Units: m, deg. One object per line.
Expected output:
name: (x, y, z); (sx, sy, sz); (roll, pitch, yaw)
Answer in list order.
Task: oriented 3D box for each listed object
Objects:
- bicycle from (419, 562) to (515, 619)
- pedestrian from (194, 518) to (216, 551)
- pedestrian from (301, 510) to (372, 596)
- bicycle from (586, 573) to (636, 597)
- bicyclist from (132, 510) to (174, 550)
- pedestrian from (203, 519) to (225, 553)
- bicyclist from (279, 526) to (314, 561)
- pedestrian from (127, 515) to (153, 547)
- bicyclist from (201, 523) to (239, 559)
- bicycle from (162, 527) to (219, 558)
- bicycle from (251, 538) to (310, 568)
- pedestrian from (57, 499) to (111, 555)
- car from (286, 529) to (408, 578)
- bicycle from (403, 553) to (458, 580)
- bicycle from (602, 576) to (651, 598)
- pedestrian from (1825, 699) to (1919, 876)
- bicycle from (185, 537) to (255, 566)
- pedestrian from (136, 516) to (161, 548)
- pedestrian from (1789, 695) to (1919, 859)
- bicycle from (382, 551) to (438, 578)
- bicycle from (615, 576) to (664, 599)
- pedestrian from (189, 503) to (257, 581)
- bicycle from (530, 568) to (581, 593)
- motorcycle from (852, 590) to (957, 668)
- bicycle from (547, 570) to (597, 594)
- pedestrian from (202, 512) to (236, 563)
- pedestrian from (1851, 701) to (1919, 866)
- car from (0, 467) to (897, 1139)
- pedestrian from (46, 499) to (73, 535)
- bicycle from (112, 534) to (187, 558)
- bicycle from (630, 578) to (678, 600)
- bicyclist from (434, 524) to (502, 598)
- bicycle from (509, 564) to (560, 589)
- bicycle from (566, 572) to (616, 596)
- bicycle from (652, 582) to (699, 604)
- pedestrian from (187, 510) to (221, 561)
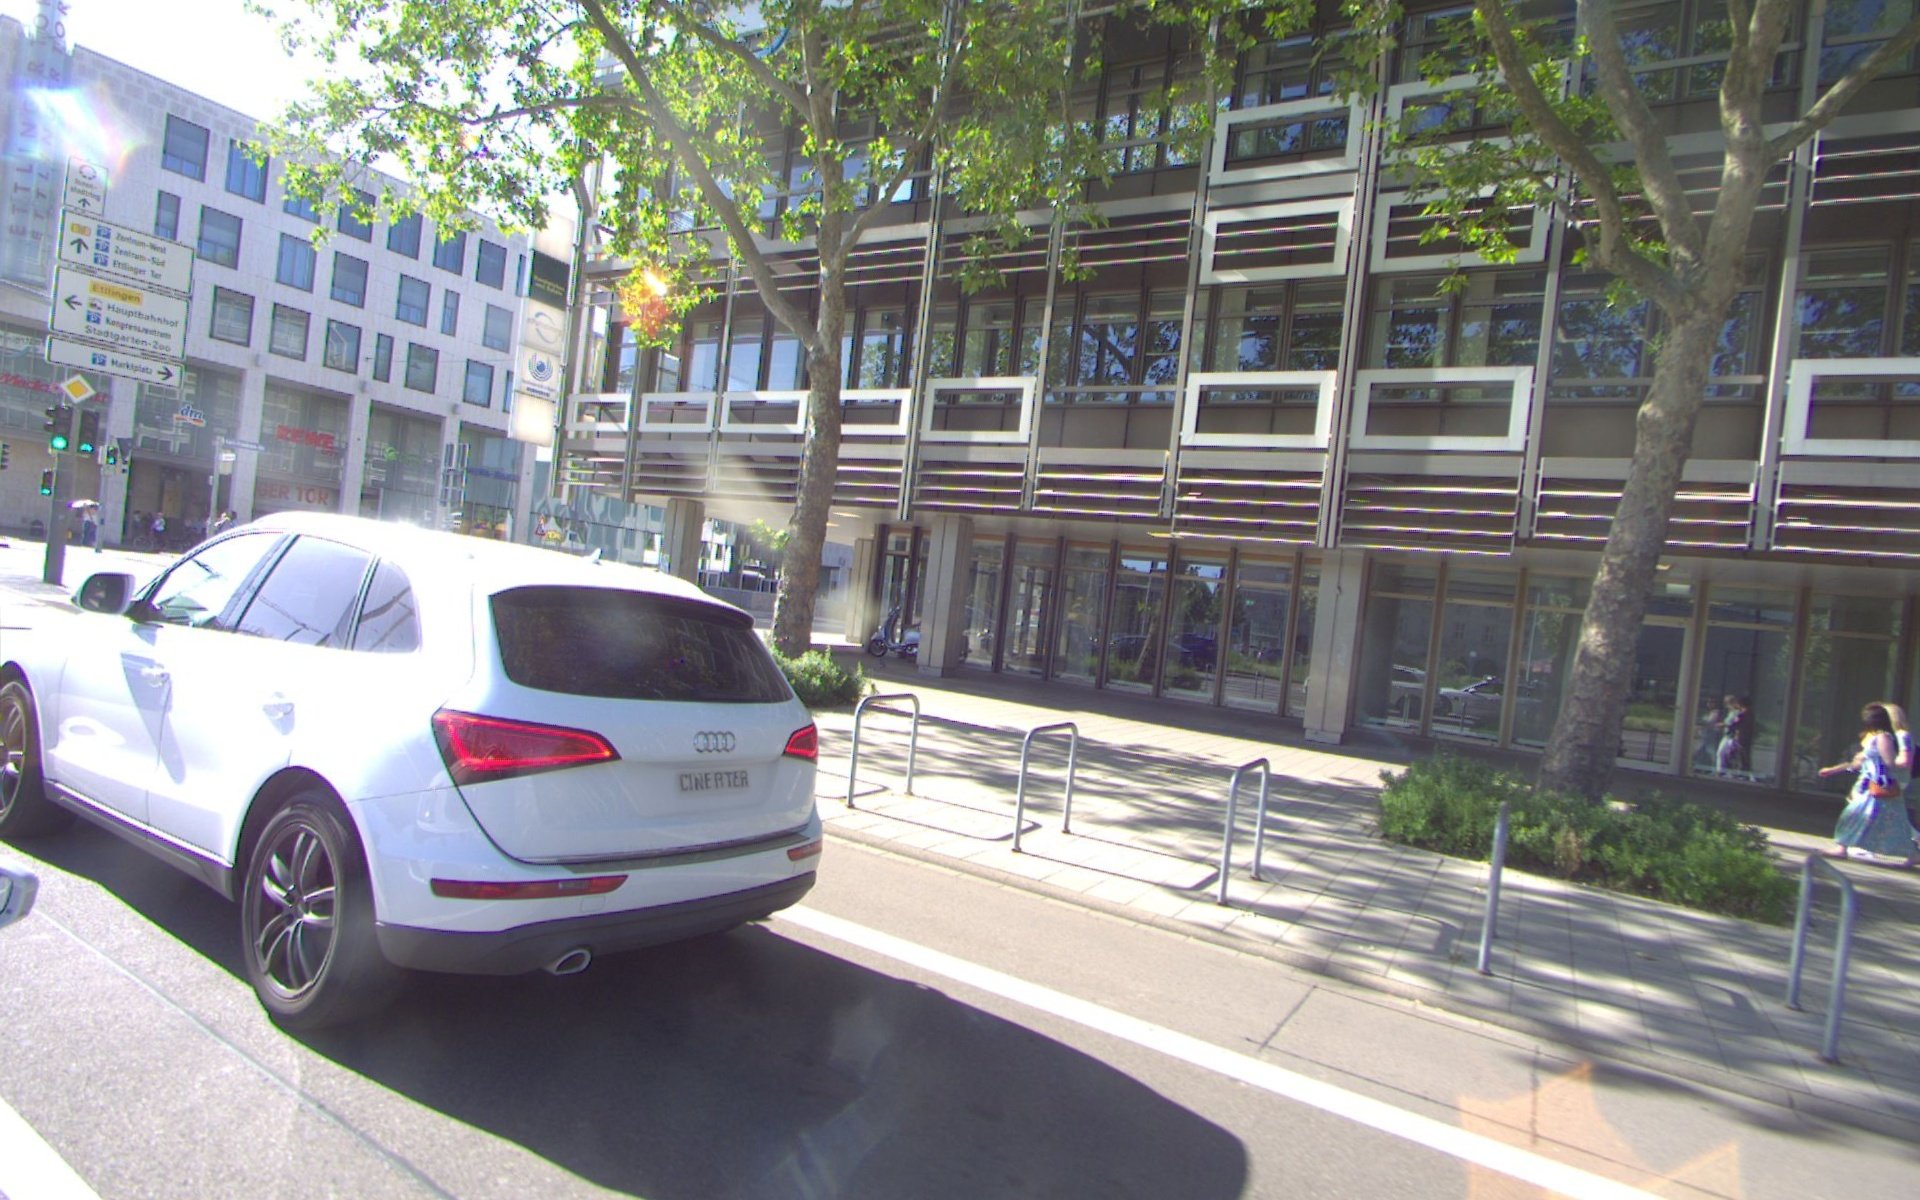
bicycle: (-10.900, -0.219, 22.214); (2.017, 0.997, 0.882); (7, 0, 31)
pedestrian: (-42.574, -3.698, 56.757); (0.639, 1.784, 0.556); (7, 1, -5)
pedestrian: (-16.052, -1.195, 25.903); (1.060, 2.038, 0.949); (7, 0, 24)
bicycle: (-22.490, -0.970, 64.742); (3.441, 1.107, 1.067); (6, -1, 34)
bicyclist: (-33.818, -2.912, 42.156); (1.055, 1.494, 1.022); (7, 0, 35)
pedestrian: (-42.677, -3.658, 57.552); (0.639, 1.784, 0.556); (7, 1, -5)
bicyclist: (-30.822, -2.630, 46.704); (1.024, 1.451, 0.933); (7, 0, 34)
pedestrian: (-44.019, -3.697, 53.999); (0.737, 1.628, 0.556); (7, 1, -5)
bicyclist: (-32.480, -2.575, 44.171); (1.059, 1.413, 0.933); (7, 0, 34)
bicycle: (-35.205, -2.652, 45.986); (2.942, 1.107, 1.067); (6, -1, 33)
bicycle: (-32.970, -2.304, 48.784); (3.440, 1.107, 1.067); (6, -1, 33)
pedestrian: (-31.208, -2.598, 35.837); (1.497, 1.825, 0.967); (7, 2, 31)
car: (-27.240, -2.035, 44.819); (1.831, 1.631, 4.189); (5, -2, 33)
bicycle: (-29.017, -1.862, 55.111); (3.441, 1.107, 1.067); (6, -1, 34)
bicycle: (-21.853, -0.850, 65.789); (3.441, 1.107, 1.067); (6, -1, 34)
pedestrian: (9.420, 1.874, 10.210); (0.716, 1.622, 0.666); (7, 3, 32)
bicycle: (-32.516, -2.106, 44.211); (1.055, 0.955, 2.194); (6, -1, 34)
pedestrian: (-44.093, -3.675, 54.657); (0.737, 1.628, 0.556); (7, 1, -6)
pedestrian: (10.219, 1.965, 11.429); (0.992, 1.622, 0.666); (7, 3, 32)
bicycle: (-29.591, -1.900, 54.074); (3.441, 1.107, 1.067); (6, -1, 34)
bicycle: (-21.296, -0.847, 66.832); (3.441, 1.107, 1.067); (6, -1, 34)
pedestrian: (-20.899, -1.634, 28.540); (1.059, 2.038, 0.949); (7, 0, 20)
bicycle: (-24.739, -1.195, 61.483); (3.441, 1.107, 1.067); (6, -1, 34)
motorcycle: (-1.232, 0.644, 22.311); (2.087, 1.459, 0.824); (7, 0, 31)
bicycle: (-24.109, -1.146, 62.458); (3.441, 1.107, 1.067); (6, -1, 34)
pedestrian: (-24.945, -2.089, 33.849); (0.517, 1.634, 0.661); (6, 2, 22)
pedestrian: (10.077, 1.938, 10.634); (0.716, 1.622, 0.666); (7, 3, 32)
car: (-2.650, 0.441, 4.518); (4.340, 1.633, 1.822); (7, -1, 32)
pedestrian: (-44.040, -4.043, 49.193); (0.547, 1.628, 0.748); (8, 1, 30)
bicycle: (-33.906, -2.238, 42.123); (1.055, 0.679, 2.194); (6, -1, 34)
bicycle: (-20.631, -0.738, 67.788); (3.441, 1.107, 1.067); (6, -1, 34)
bicyclist: (-10.867, -0.856, 22.235); (0.869, 1.495, 0.882); (7, 0, 31)
bicycle: (-25.698, -1.413, 60.716); (3.441, 1.107, 1.067); (6, -1, 34)
bicycle: (-23.352, -1.022, 63.677); (3.441, 1.107, 1.067); (6, -1, 34)
bicycle: (-19.522, -0.493, 68.976); (3.441, 1.107, 1.067); (6, -1, 34)
pedestrian: (-25.527, -2.169, 33.955); (0.517, 1.634, 0.661); (6, 2, 22)
